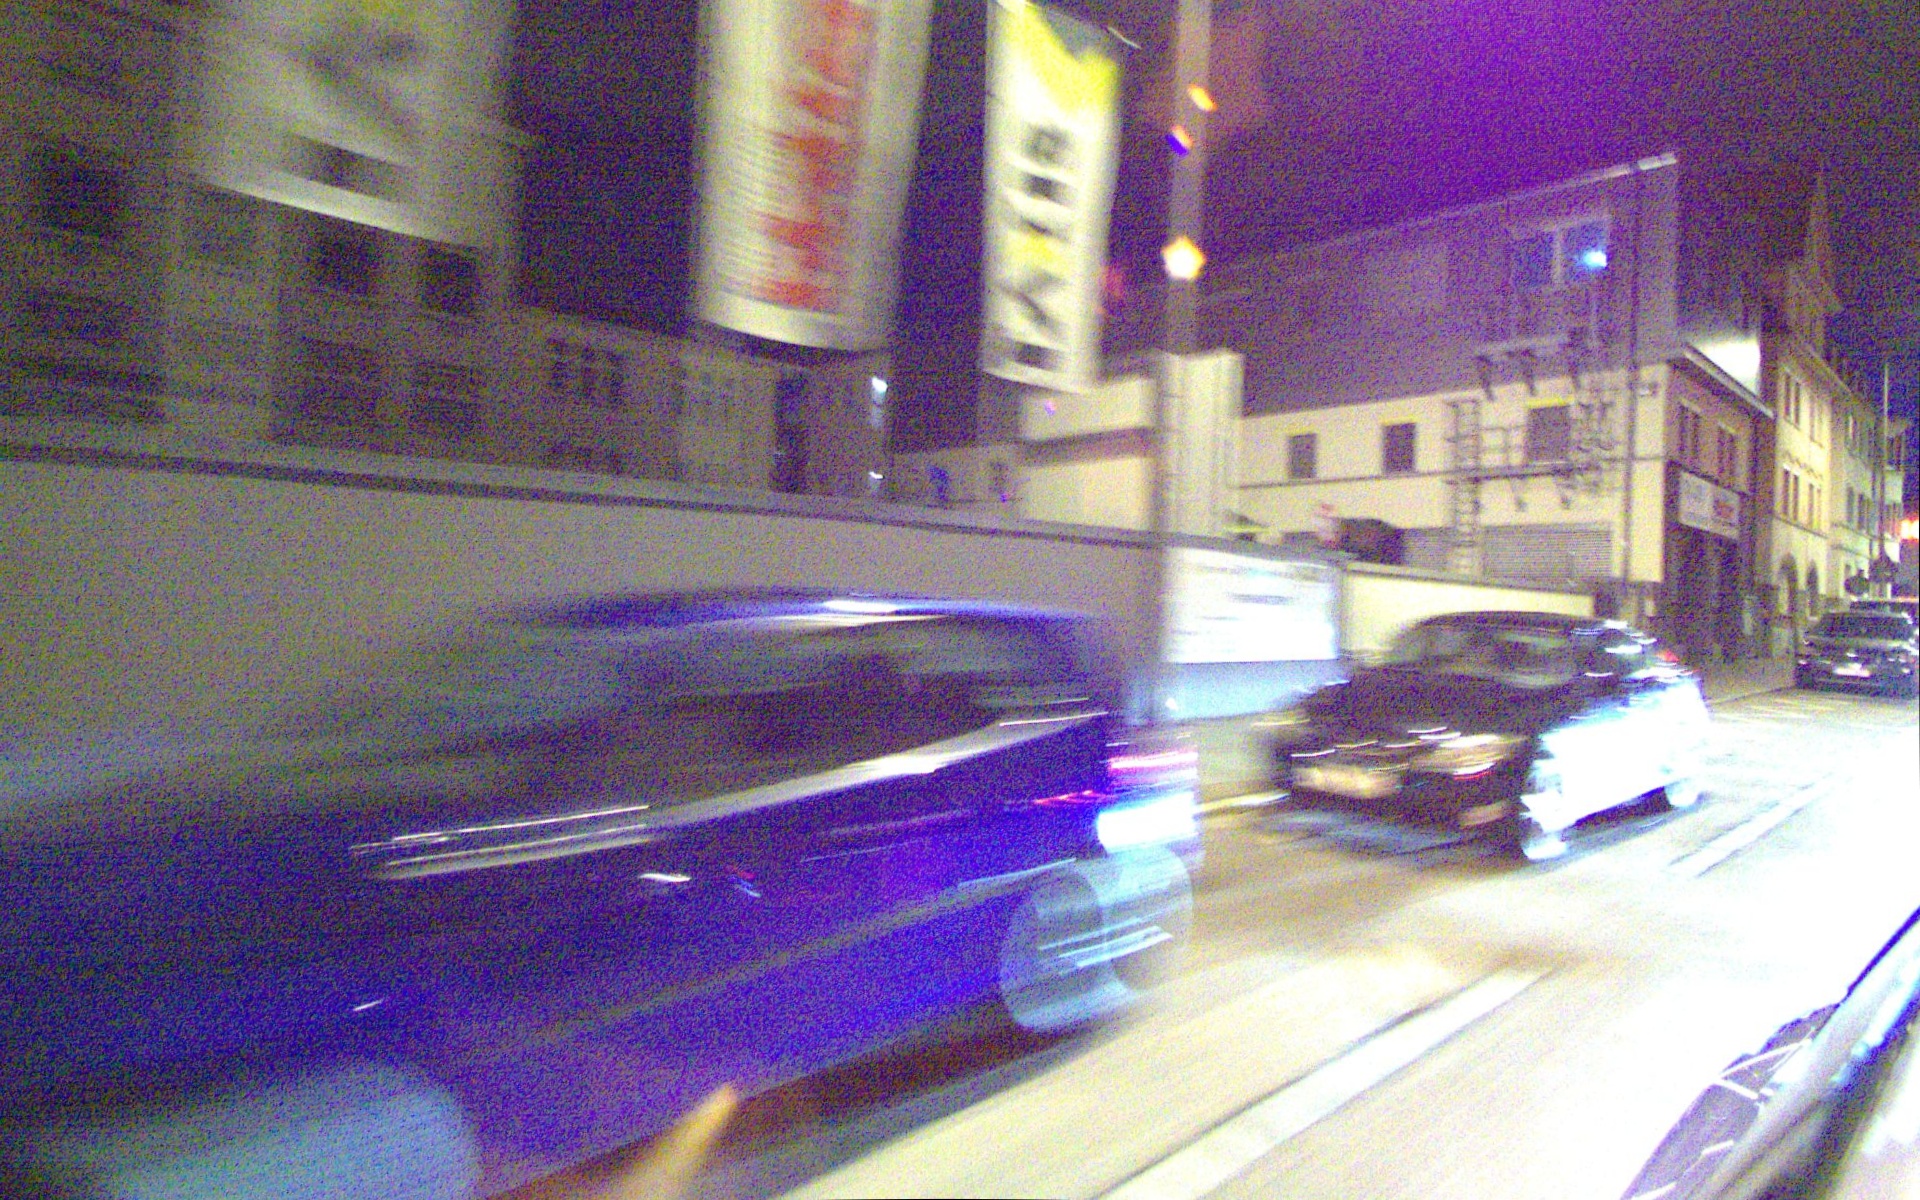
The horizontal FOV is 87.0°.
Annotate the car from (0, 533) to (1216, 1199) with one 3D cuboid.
[{"bbox_3d":[-1.092,0.611,3.030,3.824,1.444,1.781,0,0,-42],"label":"car"}]

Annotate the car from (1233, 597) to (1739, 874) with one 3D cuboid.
[{"bbox_3d":[4.065,0.718,7.460,4.401,1.444,1.782,0,0,-40],"label":"car"}]

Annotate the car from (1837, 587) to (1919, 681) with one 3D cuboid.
[{"bbox_3d":[22.238,0.736,23.511,5.277,1.952,2.076,0,2,-42],"label":"car"}]

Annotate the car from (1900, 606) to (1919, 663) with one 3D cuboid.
[{"bbox_3d":[28.679,1.001,29.291,4.138,1.585,1.747,0,2,-42],"label":"car"}]

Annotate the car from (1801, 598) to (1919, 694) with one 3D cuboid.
[{"bbox_3d":[18.301,0.832,20.162,4.150,1.618,1.822,0,3,-43],"label":"car"}]
